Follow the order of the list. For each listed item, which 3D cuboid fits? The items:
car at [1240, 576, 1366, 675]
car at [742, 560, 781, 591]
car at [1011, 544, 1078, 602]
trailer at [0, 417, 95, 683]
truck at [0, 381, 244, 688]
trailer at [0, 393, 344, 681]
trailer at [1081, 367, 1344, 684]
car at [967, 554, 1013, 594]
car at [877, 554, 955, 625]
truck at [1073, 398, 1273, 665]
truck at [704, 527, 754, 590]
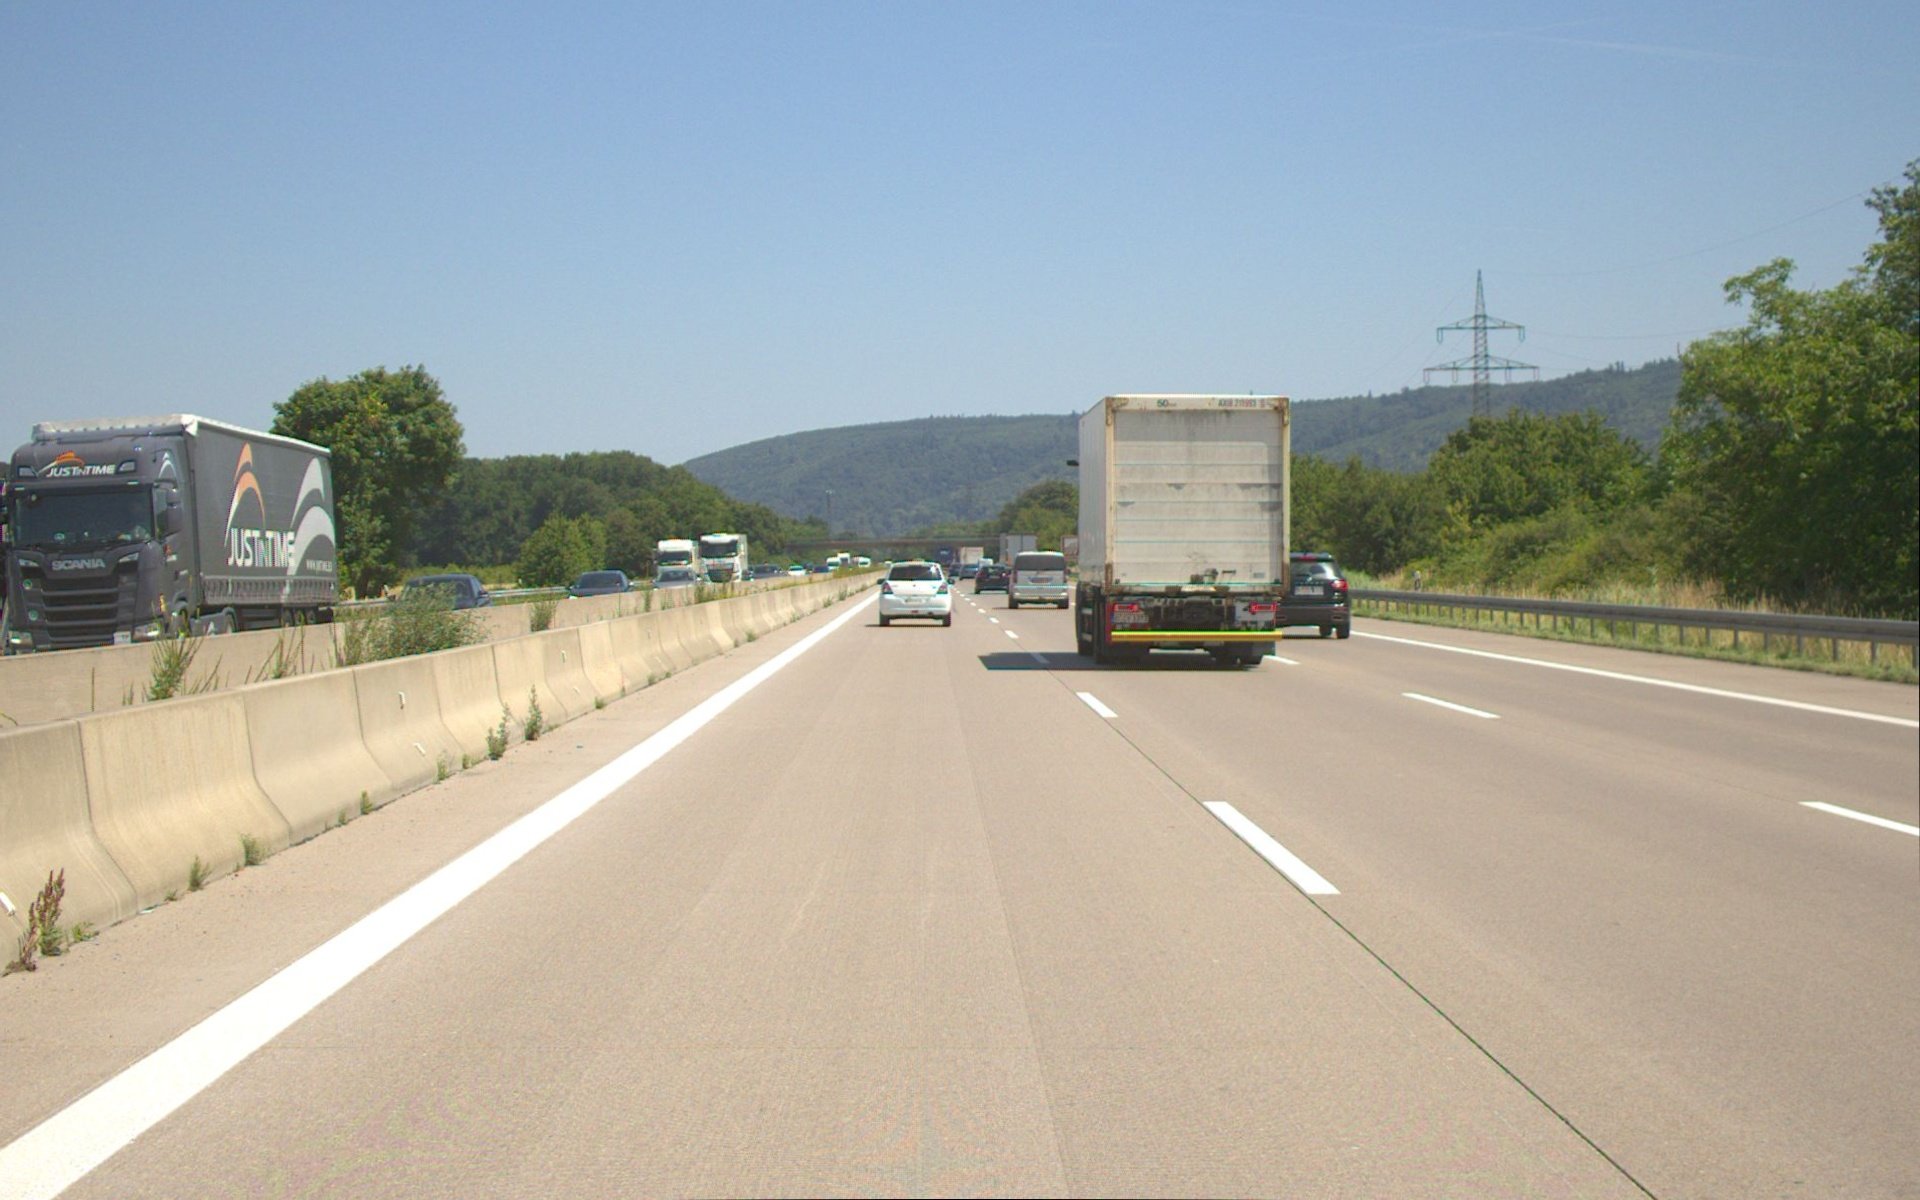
[{"bbox_3d":[6.894,0.479,69.371,1.993,1.842,4.000,2,1,-1],"label":"car"},{"bbox_3d":[-11.194,-1.385,194.314,1.863,1.723,4.140,1,1,1],"label":"car"},{"bbox_3d":[2.778,-0.894,113.338,1.993,1.842,4.000,1,1,-1],"label":"car"},{"bbox_3d":[-18.169,-0.889,59.837,3.231,4.591,12.294,1,1,-1],"label":"trailer"},{"bbox_3d":[-13.689,-0.987,54.069,3.267,4.460,7.190,-1,1,0],"label":"truck"},{"bbox_3d":[-13.874,-1.073,61.282,3.267,4.460,14.452,-1,1,-1],"label":"trailer"},{"bbox_3d":[3.294,-0.972,47.500,2.580,3.864,10.374,1,1,-1],"label":"trailer"},{"bbox_3d":[1.469,-1.284,168.744,1.993,1.842,4.000,2,1,-2],"label":"car"},{"bbox_3d":[-1.071,-0.265,81.703,1.819,1.656,4.000,0,1,-1],"label":"car"},{"bbox_3d":[3.192,-1.032,52.662,2.580,3.864,4.984,1,1,-1],"label":"truck"},{"bbox_3d":[-14.724,-2.641,219.386,2.900,3.956,5.046,1,1,-1],"label":"truck"}]
